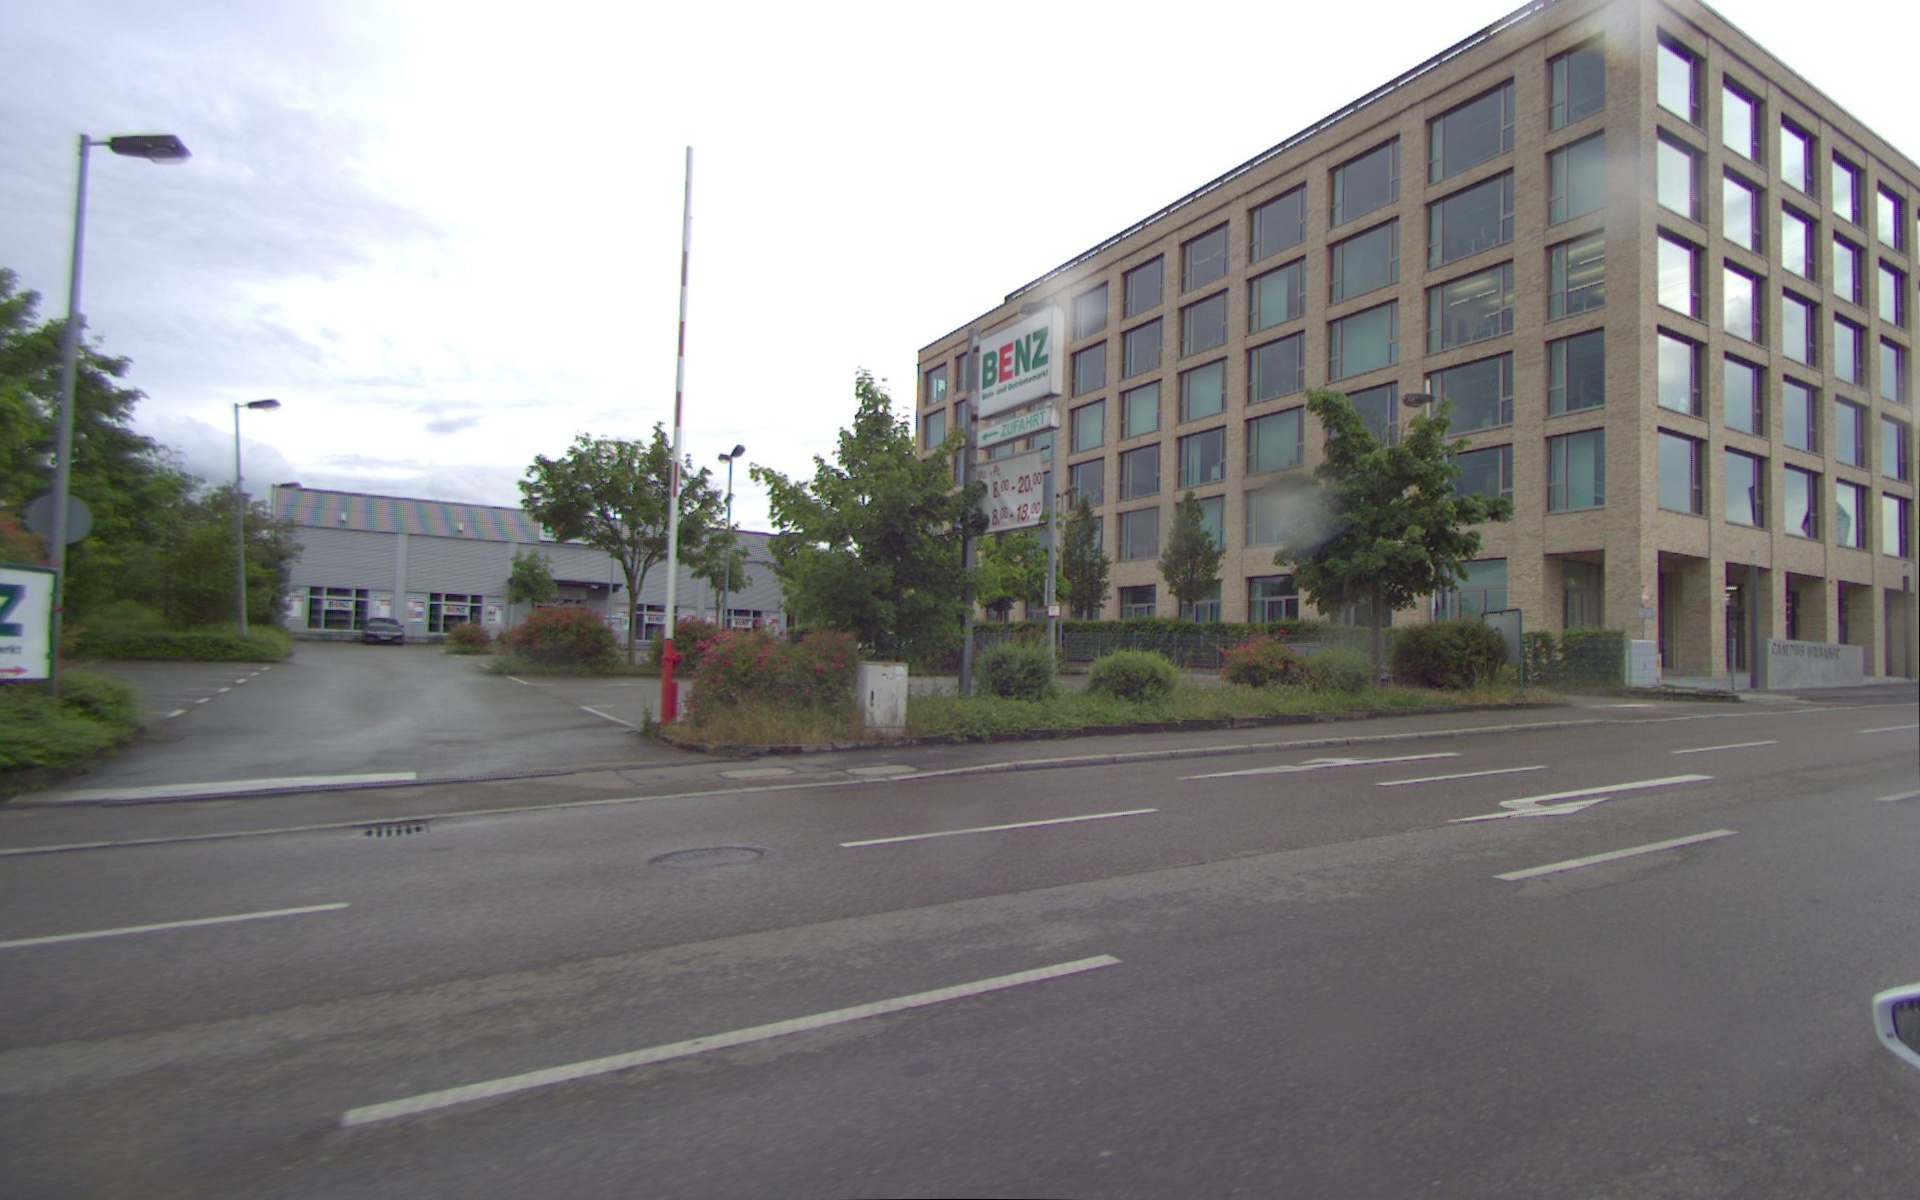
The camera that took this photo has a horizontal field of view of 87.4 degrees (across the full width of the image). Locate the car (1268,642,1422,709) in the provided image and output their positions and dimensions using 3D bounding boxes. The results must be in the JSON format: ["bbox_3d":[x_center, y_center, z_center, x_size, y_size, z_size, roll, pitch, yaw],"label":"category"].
[{"bbox_3d":[9.631,1.836,25.340,1.525,1.483,3.471,1,-1,-30],"label":"car"}]

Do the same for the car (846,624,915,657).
[{"bbox_3d":[-4.133,2.060,51.700,1.978,1.617,3.966,1,-1,-31],"label":"car"}]

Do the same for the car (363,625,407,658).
[{"bbox_3d":[-31.215,2.223,54.500,1.977,1.706,3.967,1,-1,-31],"label":"car"}]
